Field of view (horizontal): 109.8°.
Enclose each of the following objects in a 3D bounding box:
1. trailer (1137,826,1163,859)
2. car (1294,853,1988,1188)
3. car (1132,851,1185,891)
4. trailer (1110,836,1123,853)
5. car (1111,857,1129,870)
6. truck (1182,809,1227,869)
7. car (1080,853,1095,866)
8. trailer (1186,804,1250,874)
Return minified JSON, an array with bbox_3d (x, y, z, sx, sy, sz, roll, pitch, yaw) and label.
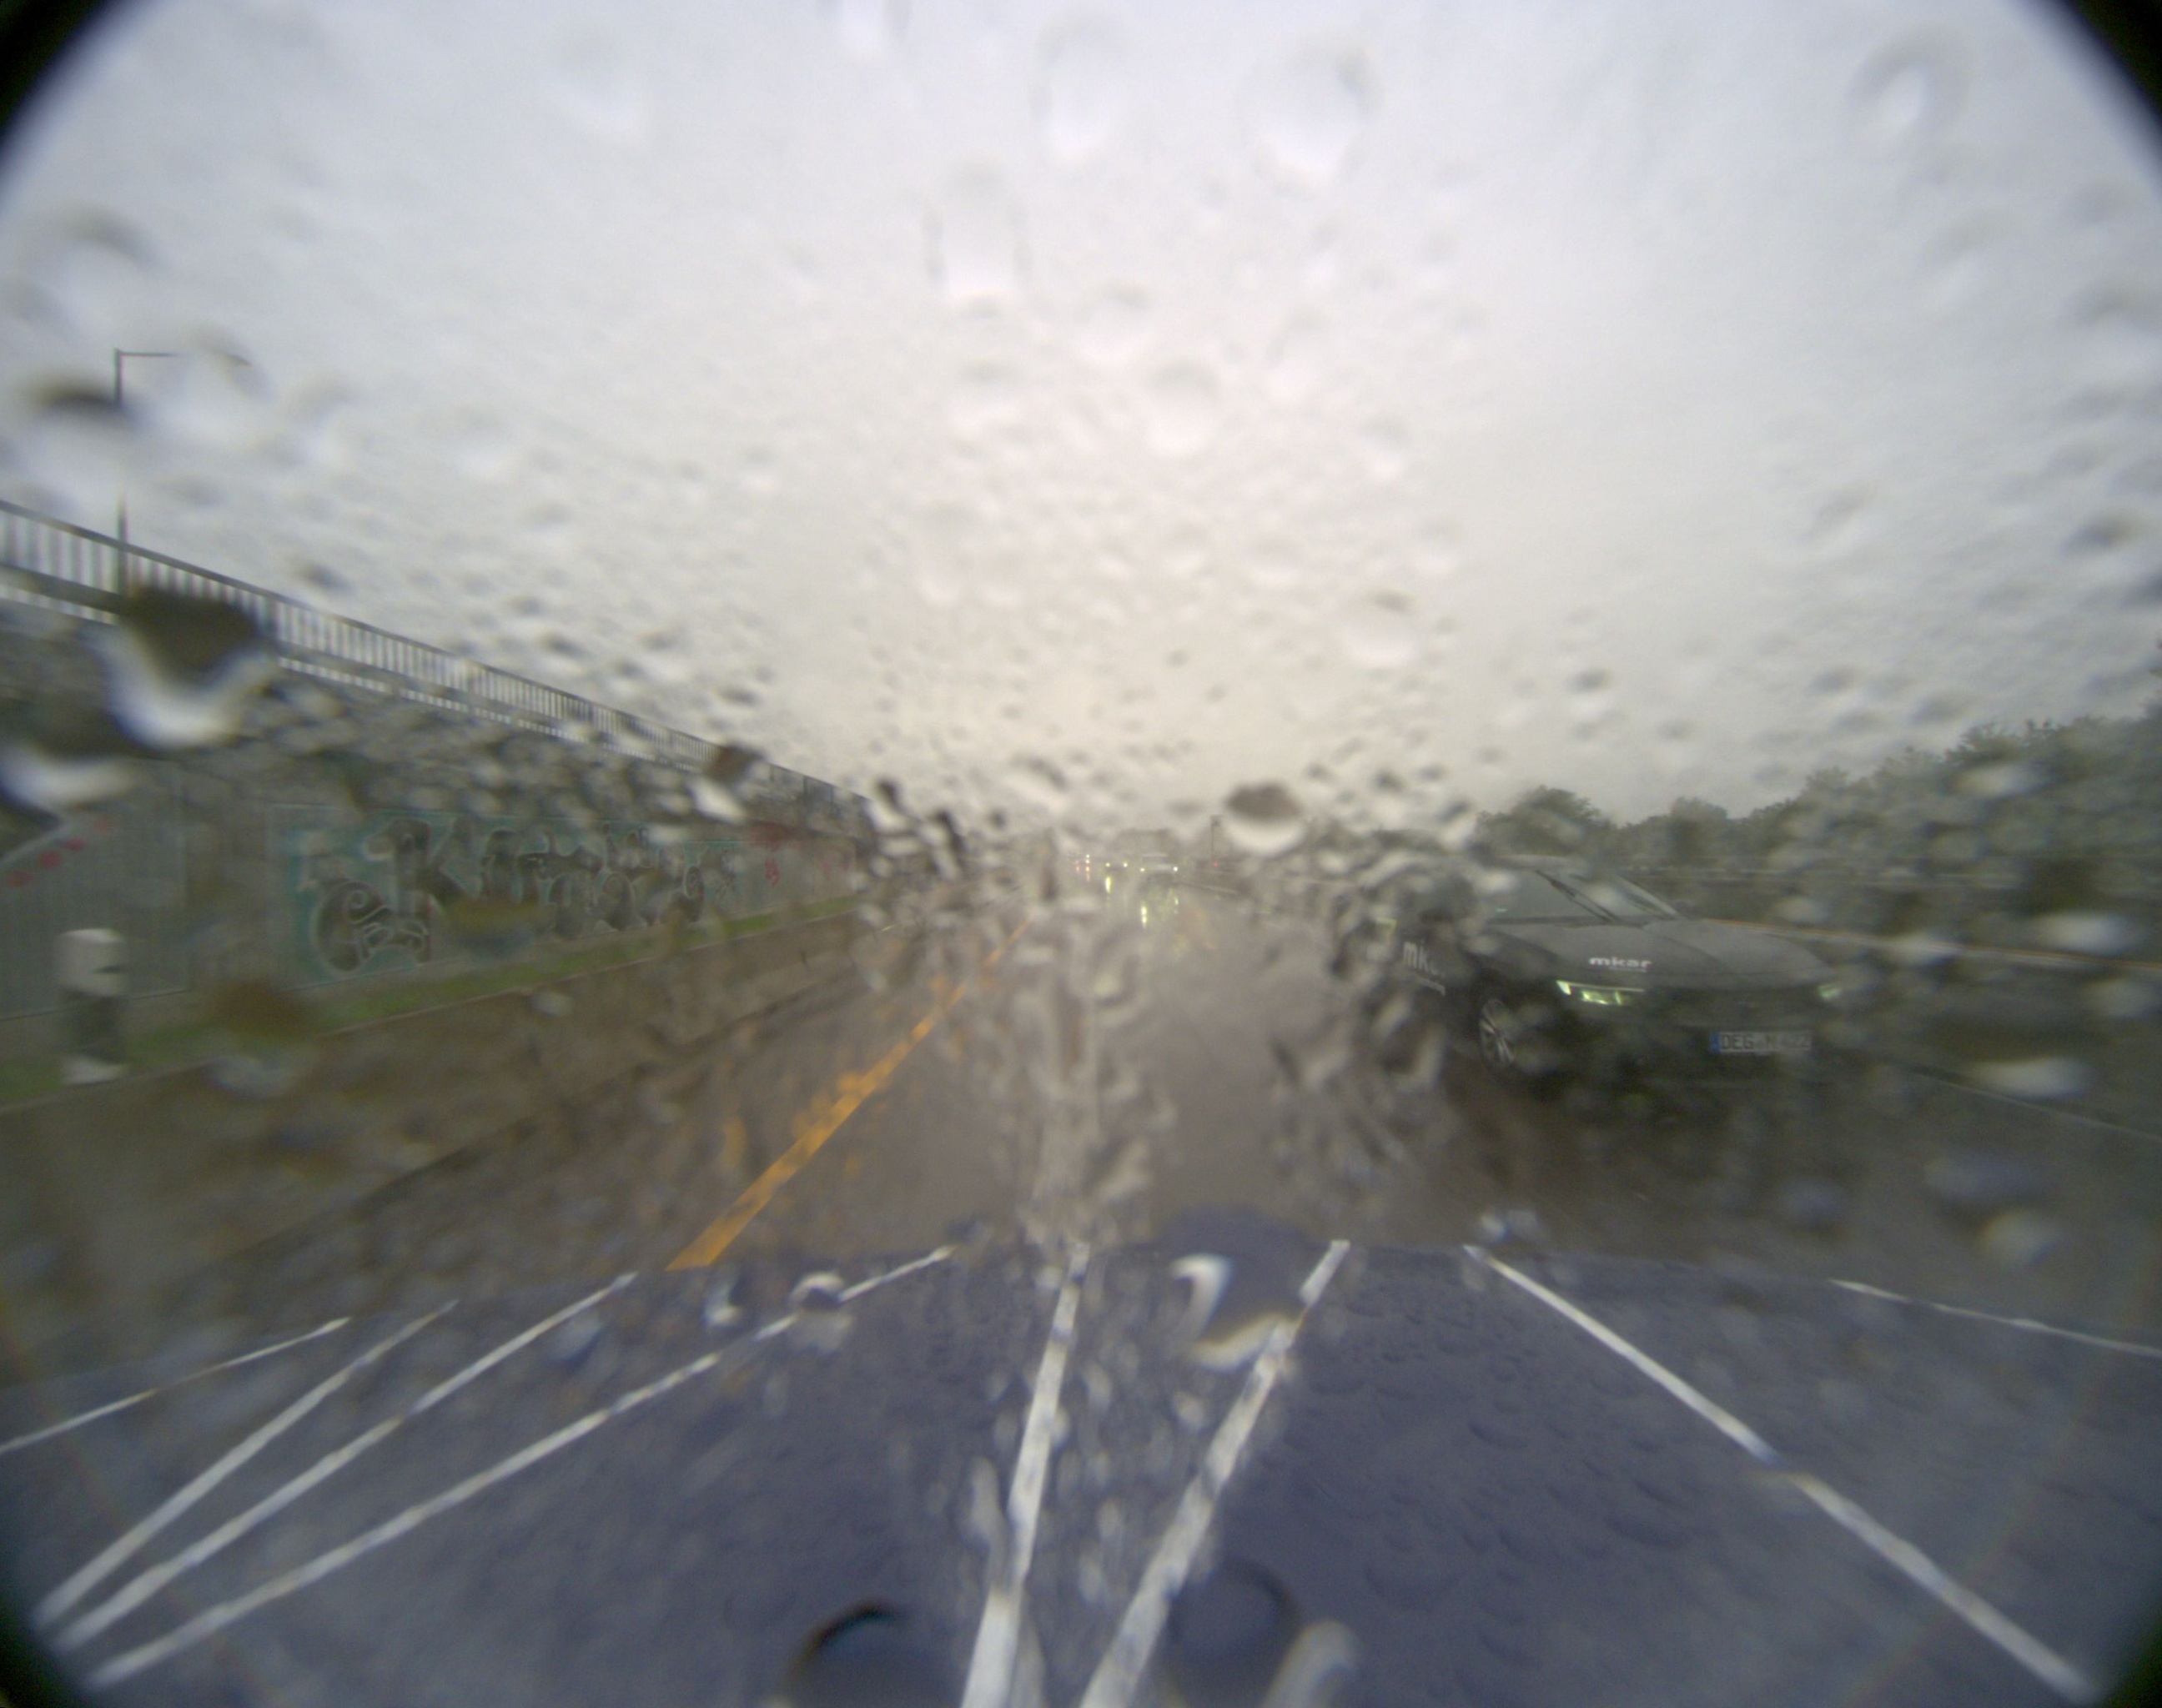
[{"bbox_3d":[9.765,-1.606,108.174,2.491,4.417,11.192,-2,1,0],"label":"trailer"},{"bbox_3d":[3.417,0.804,6.091,1.944,1.519,4.794,-2,1,-1],"label":"car"},{"bbox_3d":[3.619,0.765,36.232,1.972,1.670,3.999,-2,1,-1],"label":"car"},{"bbox_3d":[8.925,-2.415,192.231,2.657,4.085,12.311,-2,1,-1],"label":"trailer"},{"bbox_3d":[3.369,0.820,65.438,1.335,1.105,3.198,1,0,0],"label":"car"},{"bbox_3d":[9.947,-1.221,61.940,2.566,4.577,6.451,-2,1,1],"label":"truck"},{"bbox_3d":[0.877,0.761,109.575,1.999,1.762,3.999,-2,1,-1],"label":"car"},{"bbox_3d":[9.921,-1.109,56.446,2.554,4.563,12.007,-2,1,0],"label":"trailer"}]
